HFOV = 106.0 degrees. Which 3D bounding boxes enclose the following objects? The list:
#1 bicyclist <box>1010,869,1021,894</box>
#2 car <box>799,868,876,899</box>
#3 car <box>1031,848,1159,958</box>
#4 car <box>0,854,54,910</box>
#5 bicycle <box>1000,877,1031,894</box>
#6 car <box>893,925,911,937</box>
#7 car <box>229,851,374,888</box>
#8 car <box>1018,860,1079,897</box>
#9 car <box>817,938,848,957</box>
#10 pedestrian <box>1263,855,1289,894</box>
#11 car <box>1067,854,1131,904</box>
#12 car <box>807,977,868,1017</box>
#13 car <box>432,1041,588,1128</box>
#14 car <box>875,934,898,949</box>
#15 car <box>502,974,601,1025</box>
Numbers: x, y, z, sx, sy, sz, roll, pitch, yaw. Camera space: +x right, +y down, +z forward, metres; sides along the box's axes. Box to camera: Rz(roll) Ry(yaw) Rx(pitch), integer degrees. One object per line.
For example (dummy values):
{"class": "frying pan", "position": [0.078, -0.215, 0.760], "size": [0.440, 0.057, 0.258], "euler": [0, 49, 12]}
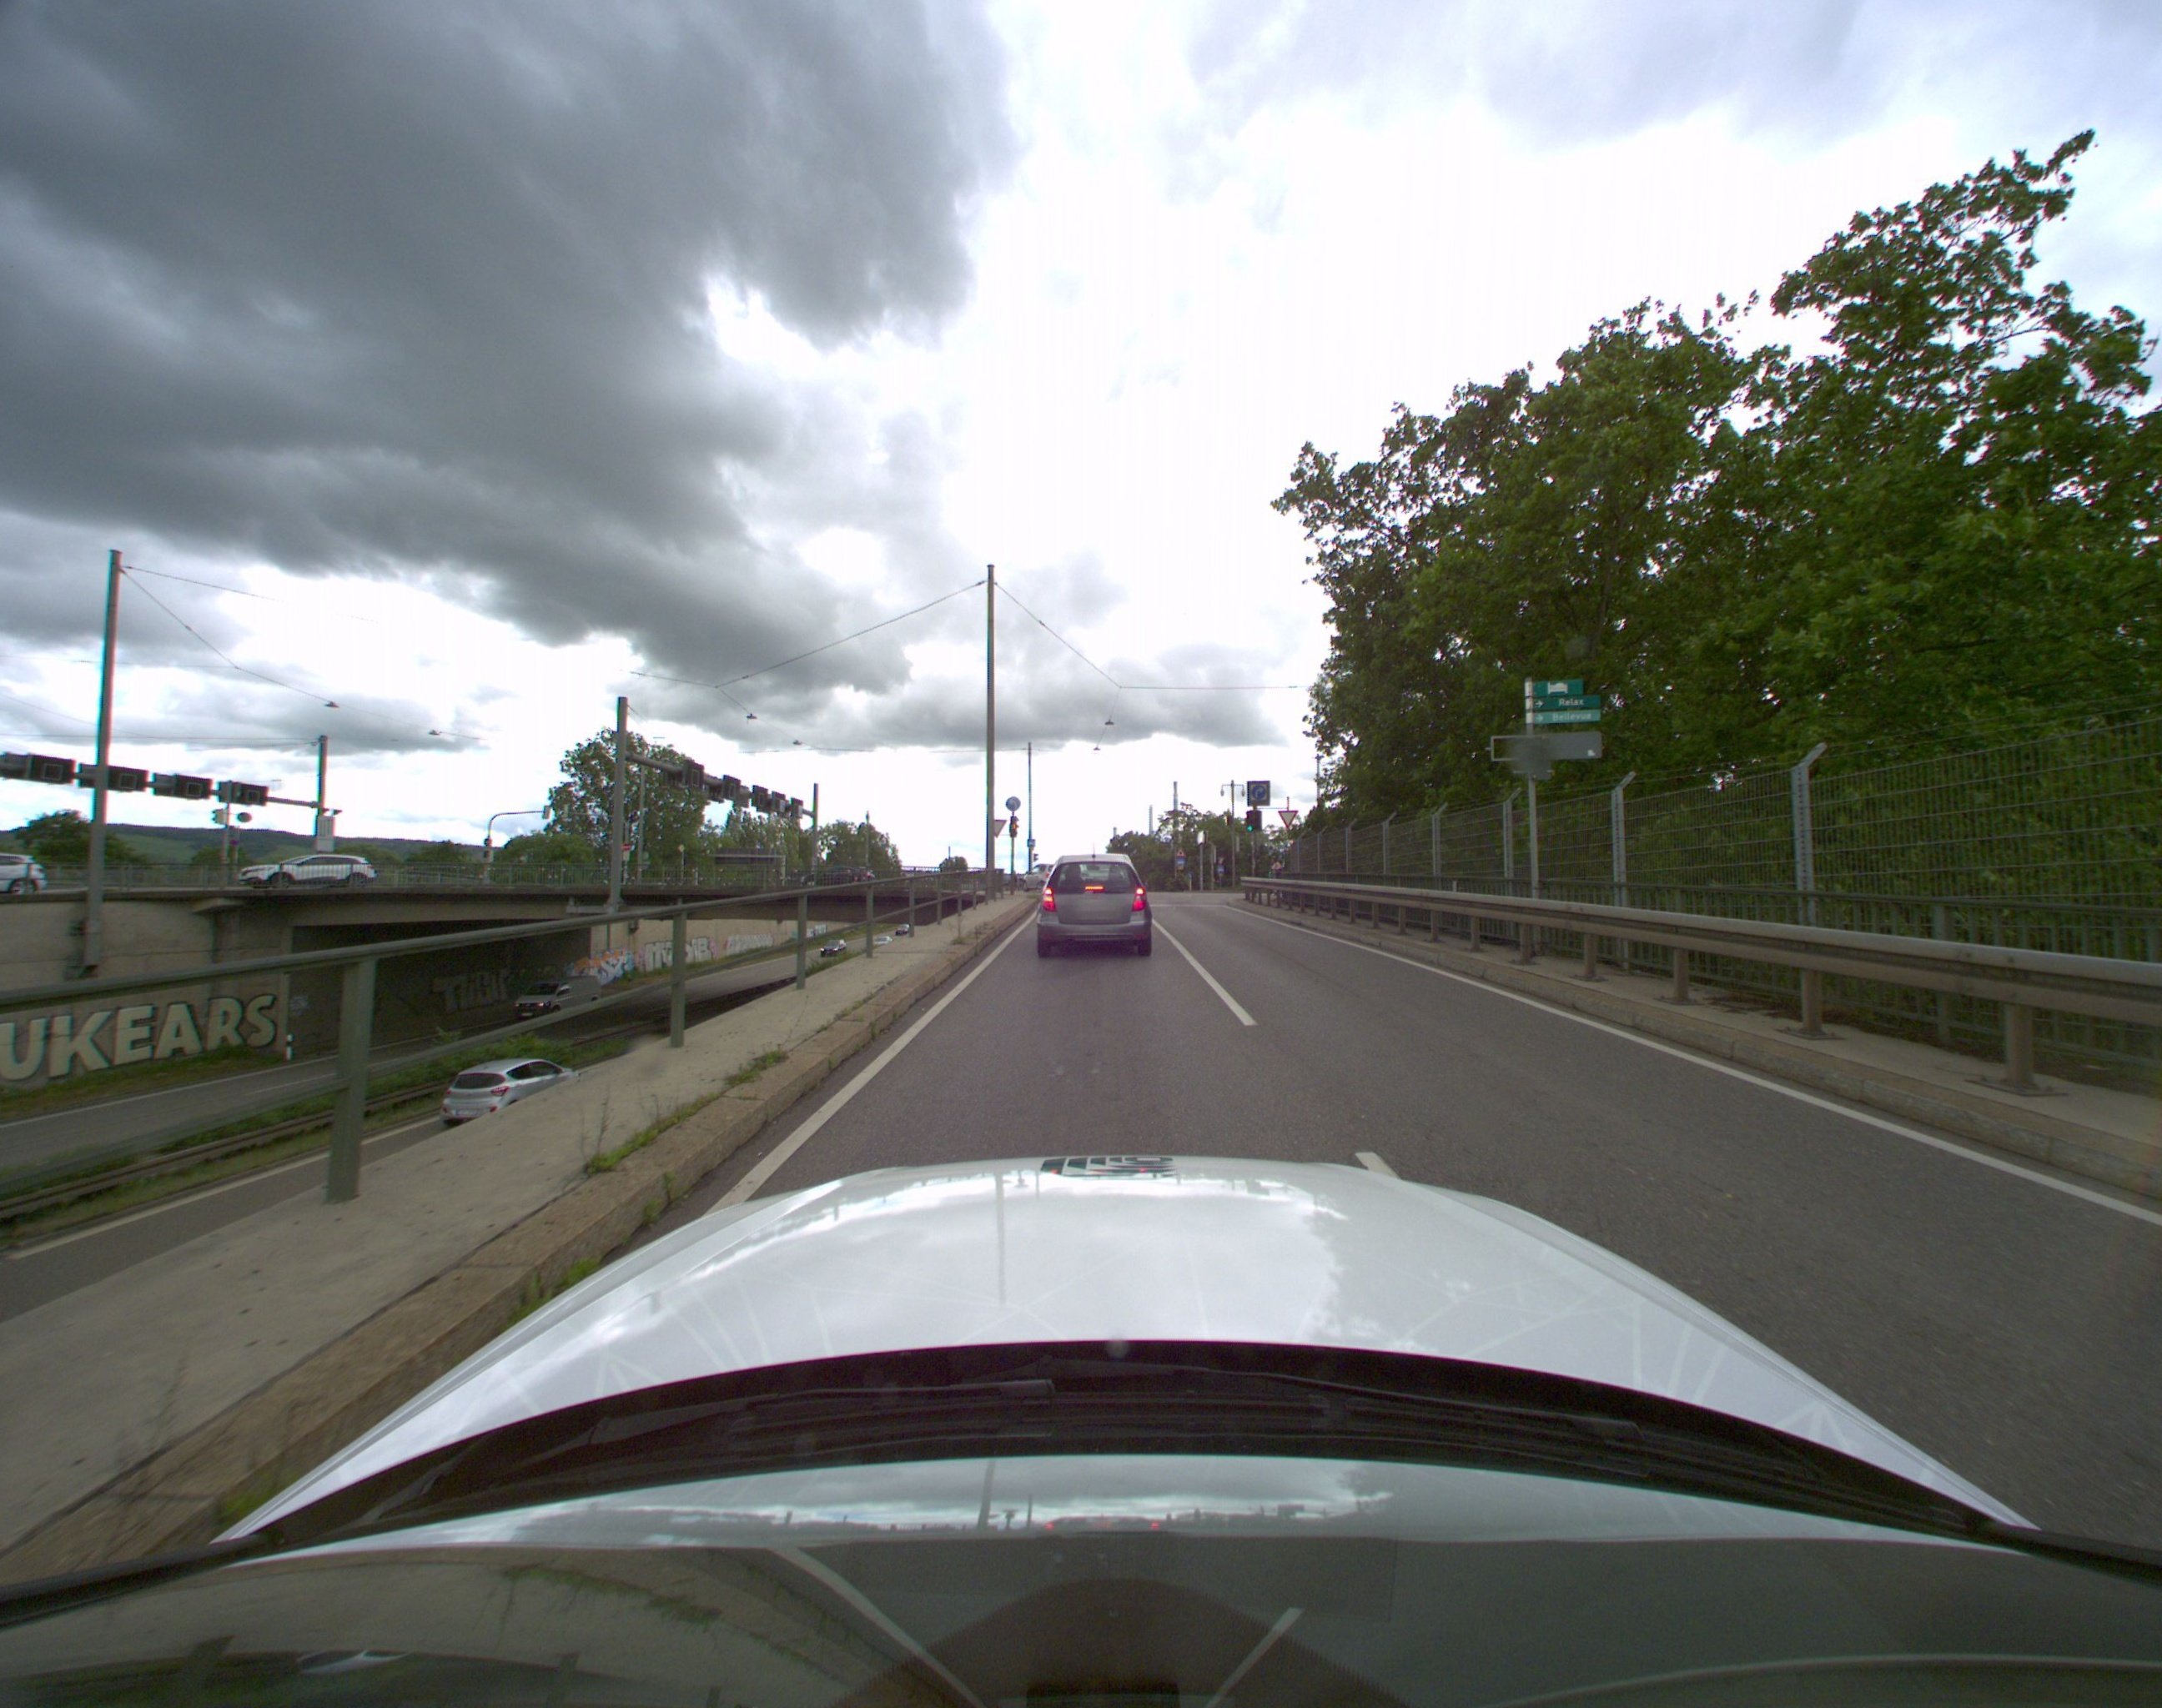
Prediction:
{"class": "bicyclist", "position": [-4.577, 1.910, 56.875], "size": [0.653, 1.673, 0.866], "euler": [-1, -1, -10]}
{"class": "car", "position": [-14.540, 1.755, 48.788], "size": [3.976, 1.717, 1.936], "euler": [-1, 0, -1]}
{"class": "car", "position": [0.304, 0.714, 13.874], "size": [1.850, 1.588, 4.003], "euler": [-1, 0, 3]}
{"class": "car", "position": [-36.952, 0.938, 26.387], "size": [1.987, 1.870, 4.213], "euler": [-1, 0, 0]}
{"class": "bicycle", "position": [-4.585, 2.196, 56.858], "size": [2.033, 1.124, 0.926], "euler": [-1, 0, -11]}
{"class": "car", "position": [-29.258, 12.574, 132.960], "size": [1.924, 1.842, 4.409], "euler": [-1, -3, 0]}
{"class": "car", "position": [-35.025, 0.666, 36.722], "size": [1.815, 1.576, 4.373], "euler": [-1, 0, 29]}
{"class": "car", "position": [-1.702, 1.198, 41.220], "size": [1.938, 1.717, 3.972], "euler": [0, 0, -21]}
{"class": "car", "position": [-26.600, 10.022, 87.385], "size": [1.909, 1.739, 4.550], "euler": [-2, -3, 0]}
{"class": "pedestrian", "position": [8.609, 0.921, 36.008], "size": [0.830, 1.678, 0.978], "euler": [-1, -4, -3]}
{"class": "car", "position": [0.591, 0.887, 30.486], "size": [1.928, 1.717, 4.398], "euler": [-1, 0, -5]}
{"class": "car", "position": [-12.419, 7.294, 41.821], "size": [1.736, 1.452, 4.167], "euler": [-1, -3, 2]}
{"class": "car", "position": [-15.586, 6.277, 22.495], "size": [1.550, 1.553, 3.683], "euler": [-1, -3, 2]}
{"class": "car", "position": [-23.320, 10.494, 97.843], "size": [1.723, 1.528, 4.086], "euler": [-1, -3, 1]}
{"class": "car", "position": [-28.387, 7.752, 43.889], "size": [1.988, 2.067, 5.172], "euler": [0, -3, -2]}
